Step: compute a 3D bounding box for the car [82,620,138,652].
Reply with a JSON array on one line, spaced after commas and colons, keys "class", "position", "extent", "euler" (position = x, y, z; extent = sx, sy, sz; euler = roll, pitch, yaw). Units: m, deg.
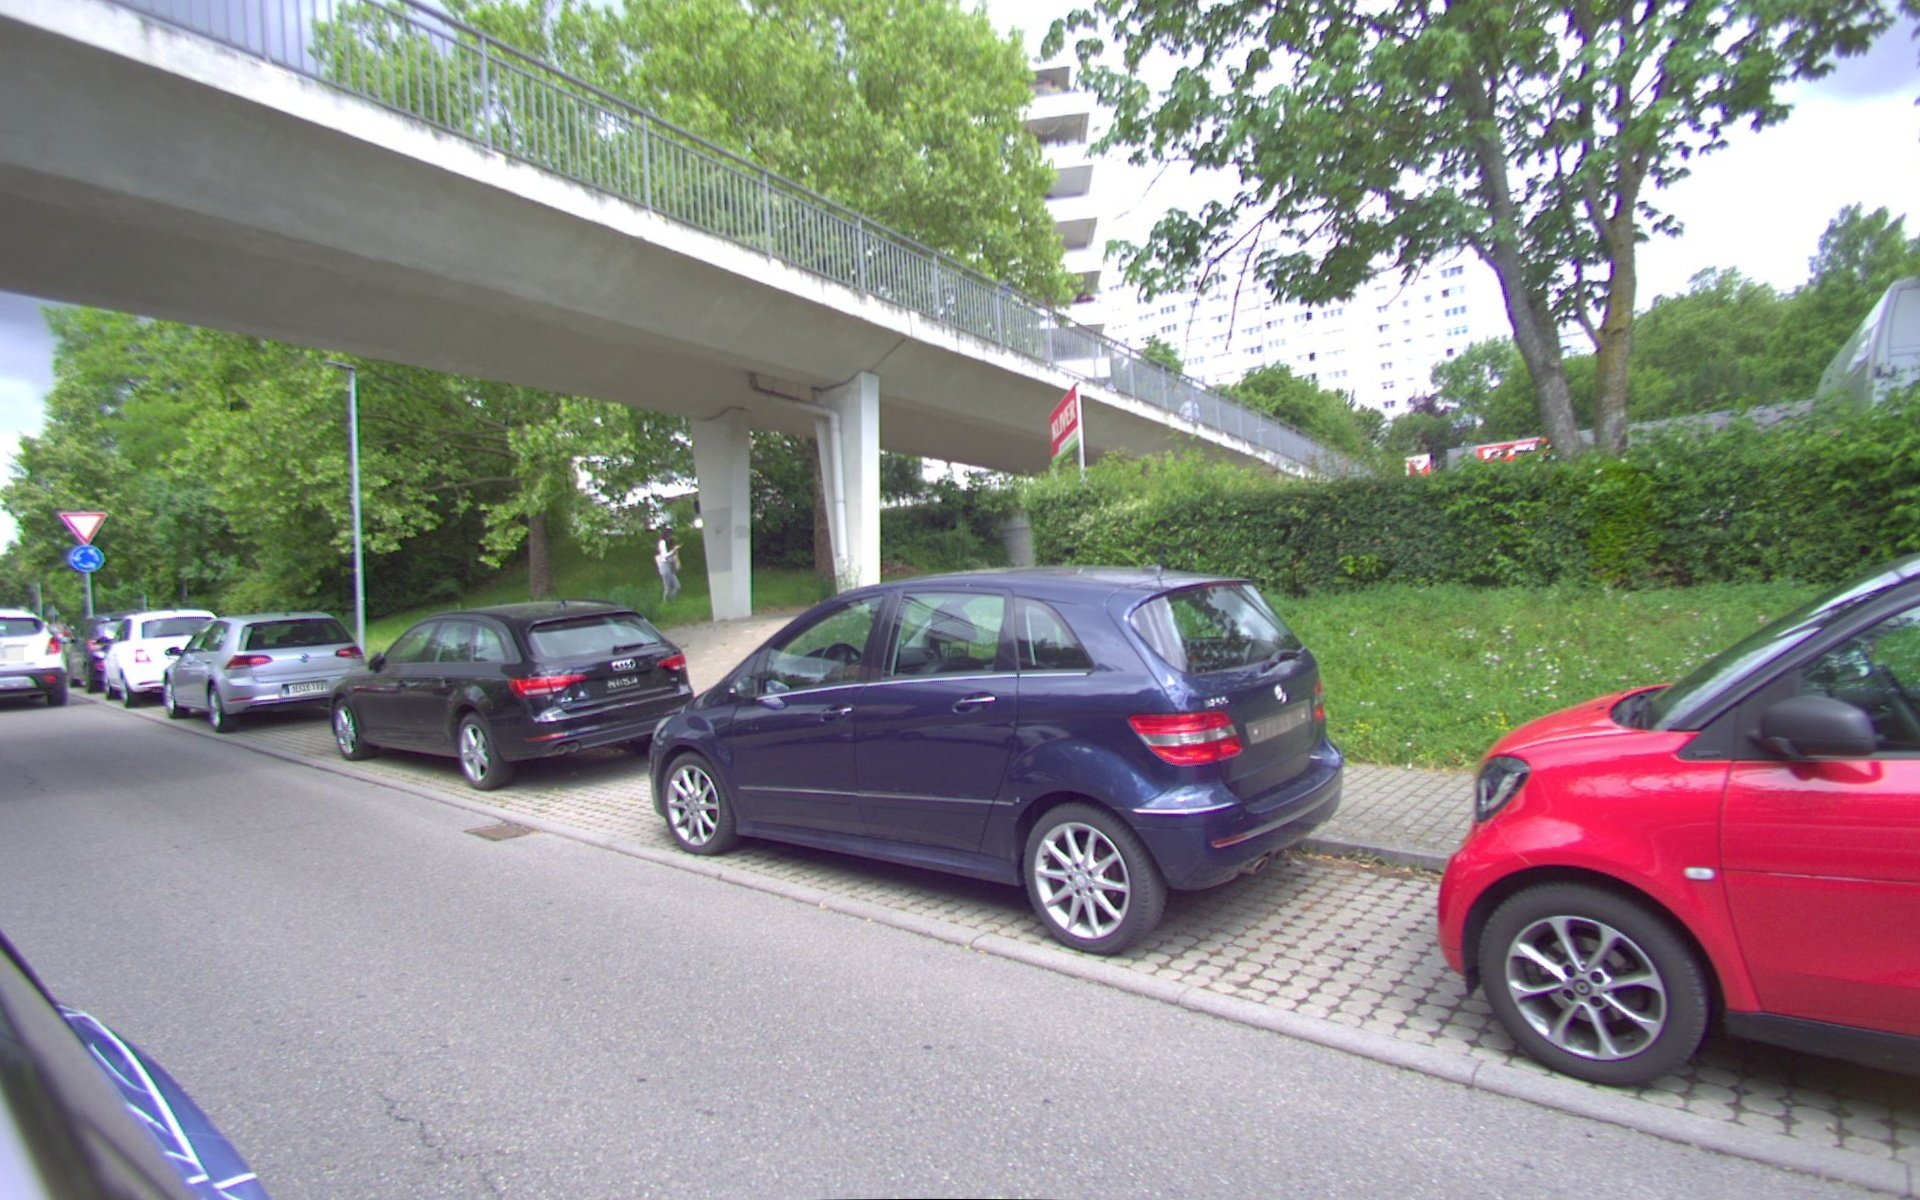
[{"class": "car", "position": [-49.189, 2.046, 58.658], "extent": [1.775, 1.627, 4.491], "euler": [-6, 3, -32]}]

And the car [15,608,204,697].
[{"class": "car", "position": [-17.308, 1.080, 20.559], "extent": [3.988, 1.478, 1.773], "euler": [-5, 0, 33]}]

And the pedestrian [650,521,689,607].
[{"class": "pedestrian", "position": [-6.100, -0.739, 21.253], "extent": [0.648, 1.734, 0.742], "euler": [-3, 0, -20]}]

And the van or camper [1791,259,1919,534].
[{"class": "van or camper", "position": [9.668, -1.821, 9.857], "extent": [1.996, 2.101, 4.812], "euler": [-3, 0, 36]}]

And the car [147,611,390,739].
[{"class": "car", "position": [-9.762, 0.923, 14.178], "extent": [3.999, 1.438, 1.865], "euler": [0, 2, 42]}]

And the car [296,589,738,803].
[{"class": "car", "position": [-4.307, 0.754, 9.539], "extent": [4.445, 1.520, 1.867], "euler": [-2, 1, 38]}]

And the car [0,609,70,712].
[{"class": "car", "position": [-16.809, 1.017, 17.368], "extent": [4.049, 1.623, 1.730], "euler": [-2, -1, 40]}]

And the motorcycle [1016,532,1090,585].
[{"class": "motorcycle", "position": [2.481, -1.101, 27.228], "extent": [0.871, 1.280, 2.052], "euler": [-3, 0, -31]}]

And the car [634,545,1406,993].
[{"class": "car", "position": [0.139, 0.610, 5.562], "extent": [3.835, 1.570, 1.866], "euler": [-2, 2, 40]}]

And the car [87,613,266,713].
[{"class": "car", "position": [-13.621, 0.998, 17.537], "extent": [3.546, 1.471, 1.864], "euler": [0, 1, 42]}]

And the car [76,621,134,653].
[{"class": "car", "position": [-45.933, 1.969, 54.466], "extent": [1.667, 1.475, 4.469], "euler": [-6, 2, -32]}]

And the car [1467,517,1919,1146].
[{"class": "car", "position": [3.076, 0.524, 2.742], "extent": [2.712, 1.517, 1.512], "euler": [-2, 1, 42]}]
